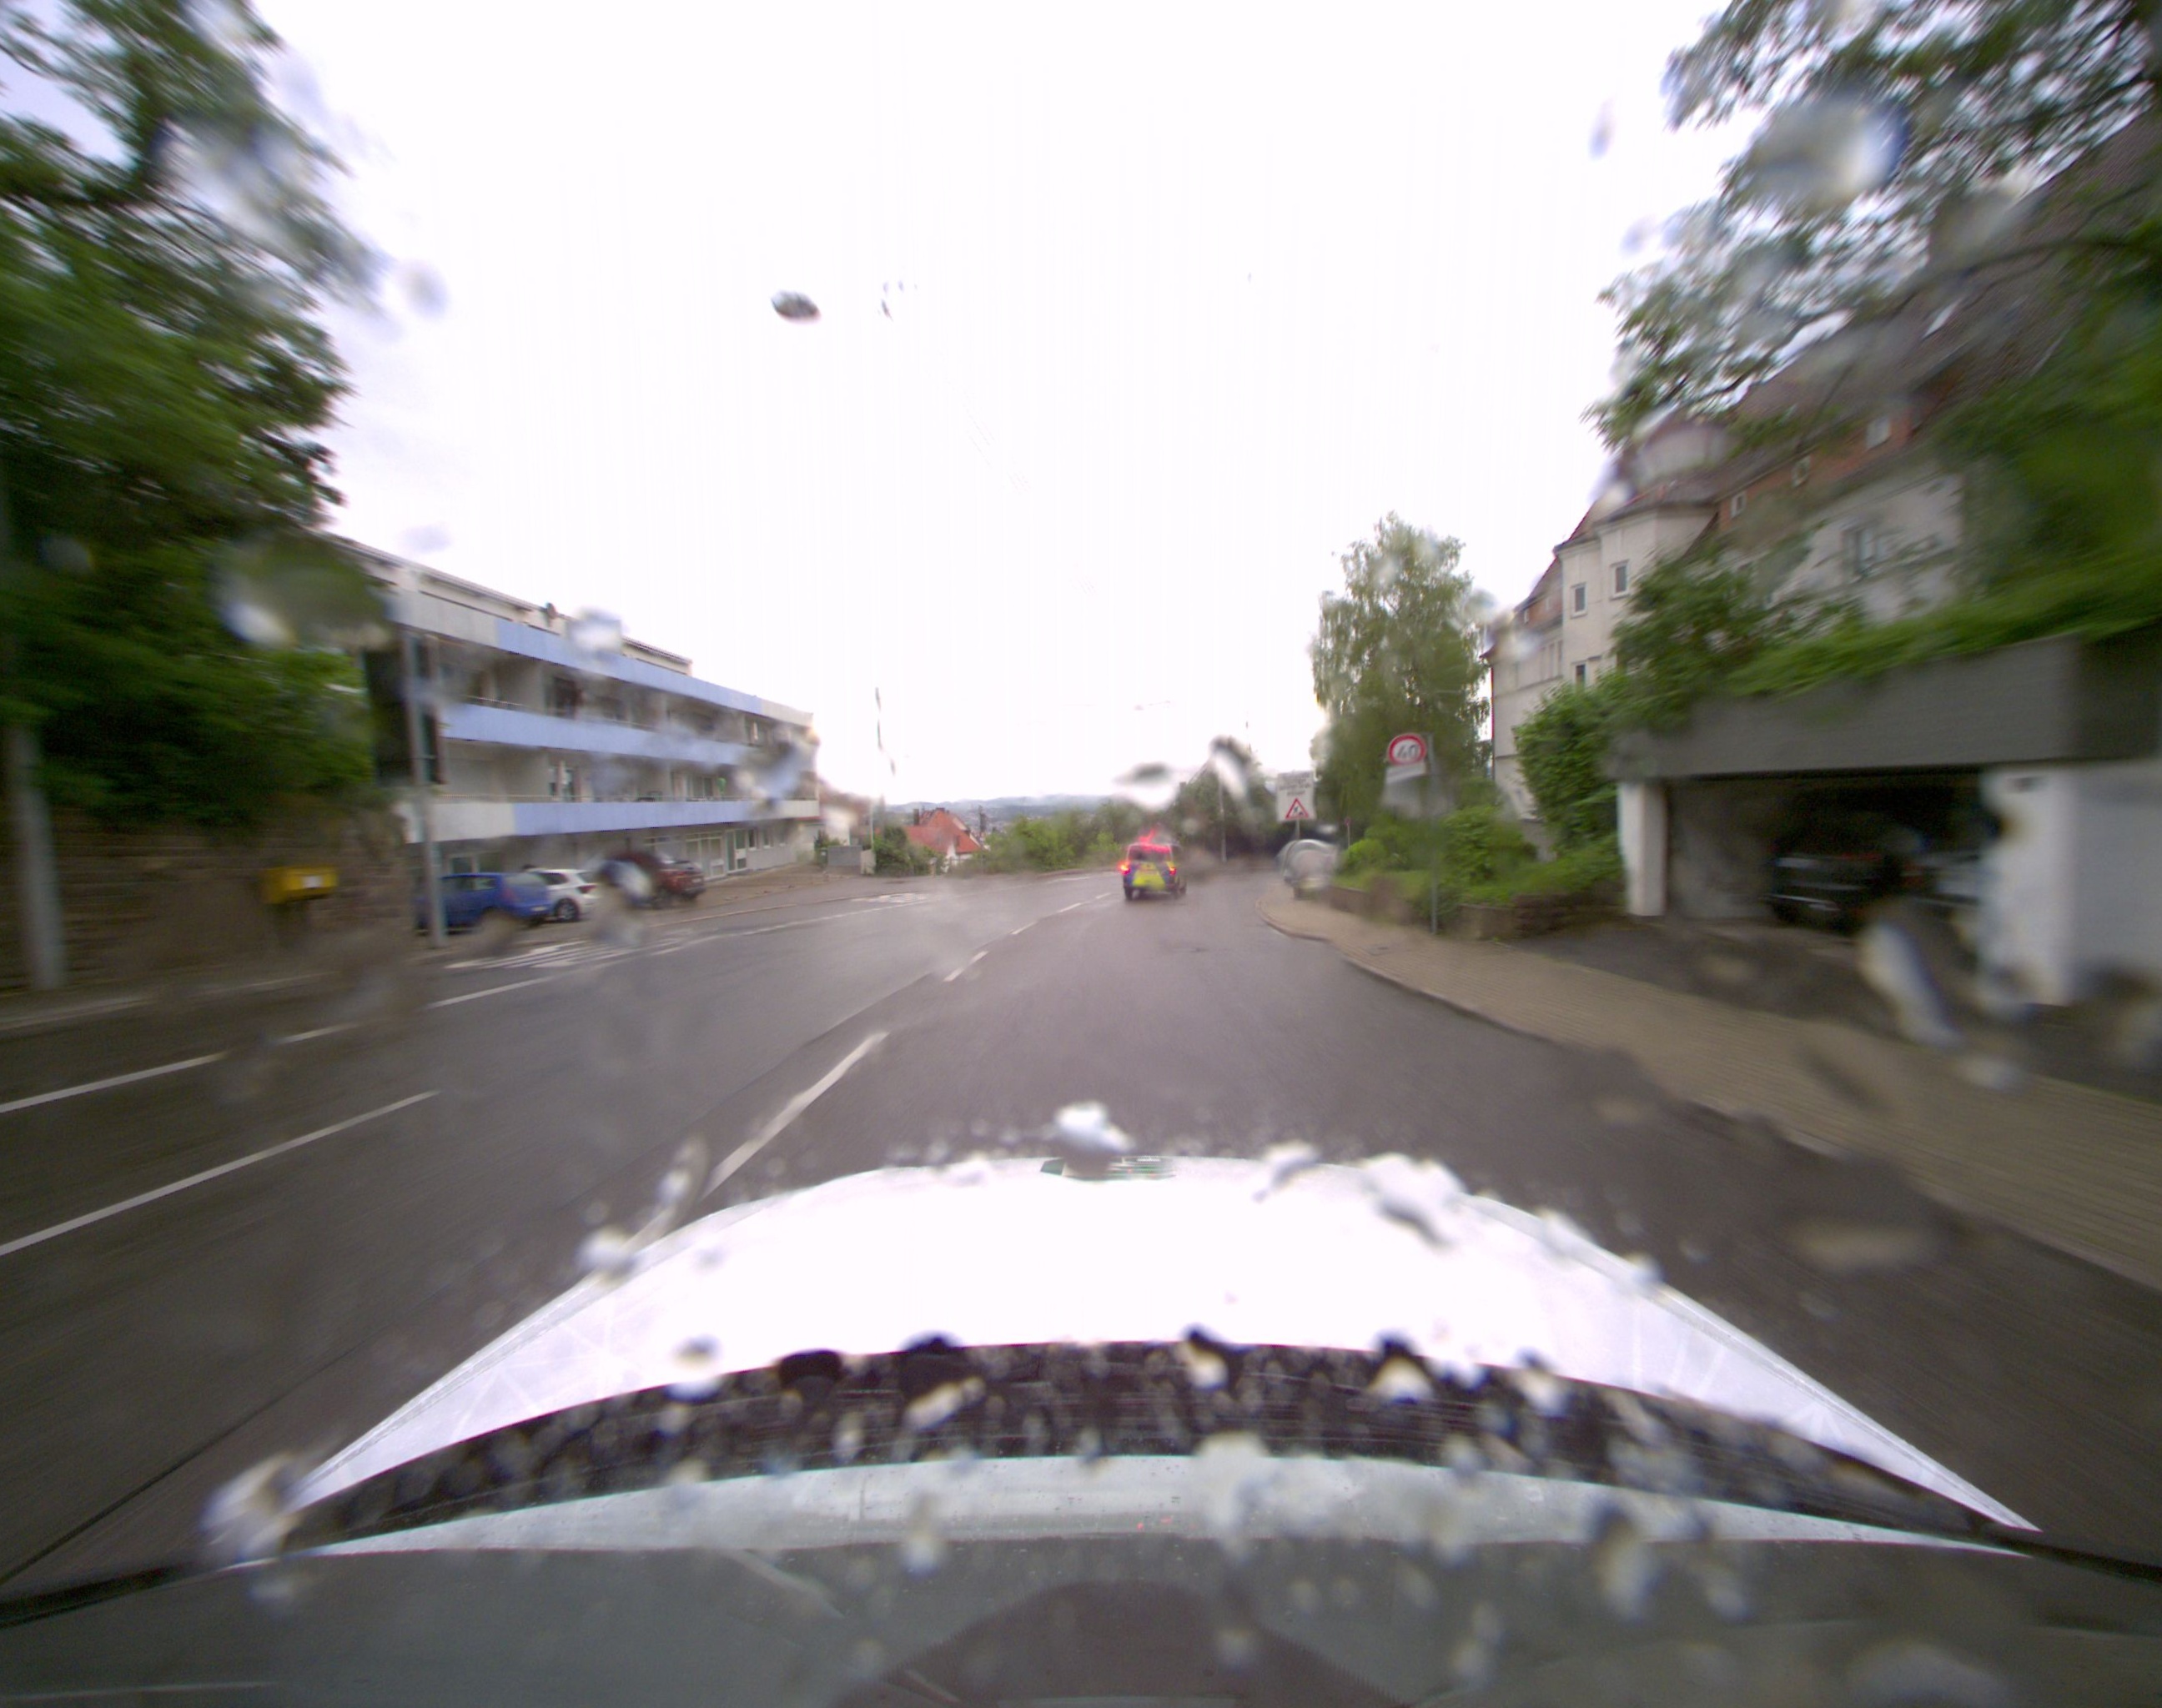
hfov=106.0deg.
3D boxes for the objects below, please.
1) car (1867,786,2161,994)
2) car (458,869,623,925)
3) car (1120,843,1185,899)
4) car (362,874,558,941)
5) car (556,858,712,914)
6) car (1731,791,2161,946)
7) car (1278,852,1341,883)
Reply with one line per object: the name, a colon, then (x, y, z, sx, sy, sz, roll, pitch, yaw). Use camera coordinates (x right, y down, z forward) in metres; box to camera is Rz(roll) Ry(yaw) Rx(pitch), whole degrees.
car: (9.862, 0.230, 7.349, 3.761, 1.675, 1.675, -1, 3, 5)
car: (-14.888, 1.158, 22.550, 3.418, 1.445, 1.708, 0, 0, 1)
car: (2.720, 0.581, 30.019, 1.981, 1.893, 4.582, 0, 0, 9)
car: (-15.144, 1.274, 20.012, 3.423, 1.390, 1.635, -2, 0, -4)
car: (-14.115, 0.995, 25.889, 3.912, 1.550, 1.715, -2, 0, -2)
car: (10.386, 0.101, 9.548, 3.968, 1.628, 1.802, 0, 3, 5)
car: (11.637, 0.644, 41.329, 1.772, 1.446, 4.132, 0, 0, 36)
